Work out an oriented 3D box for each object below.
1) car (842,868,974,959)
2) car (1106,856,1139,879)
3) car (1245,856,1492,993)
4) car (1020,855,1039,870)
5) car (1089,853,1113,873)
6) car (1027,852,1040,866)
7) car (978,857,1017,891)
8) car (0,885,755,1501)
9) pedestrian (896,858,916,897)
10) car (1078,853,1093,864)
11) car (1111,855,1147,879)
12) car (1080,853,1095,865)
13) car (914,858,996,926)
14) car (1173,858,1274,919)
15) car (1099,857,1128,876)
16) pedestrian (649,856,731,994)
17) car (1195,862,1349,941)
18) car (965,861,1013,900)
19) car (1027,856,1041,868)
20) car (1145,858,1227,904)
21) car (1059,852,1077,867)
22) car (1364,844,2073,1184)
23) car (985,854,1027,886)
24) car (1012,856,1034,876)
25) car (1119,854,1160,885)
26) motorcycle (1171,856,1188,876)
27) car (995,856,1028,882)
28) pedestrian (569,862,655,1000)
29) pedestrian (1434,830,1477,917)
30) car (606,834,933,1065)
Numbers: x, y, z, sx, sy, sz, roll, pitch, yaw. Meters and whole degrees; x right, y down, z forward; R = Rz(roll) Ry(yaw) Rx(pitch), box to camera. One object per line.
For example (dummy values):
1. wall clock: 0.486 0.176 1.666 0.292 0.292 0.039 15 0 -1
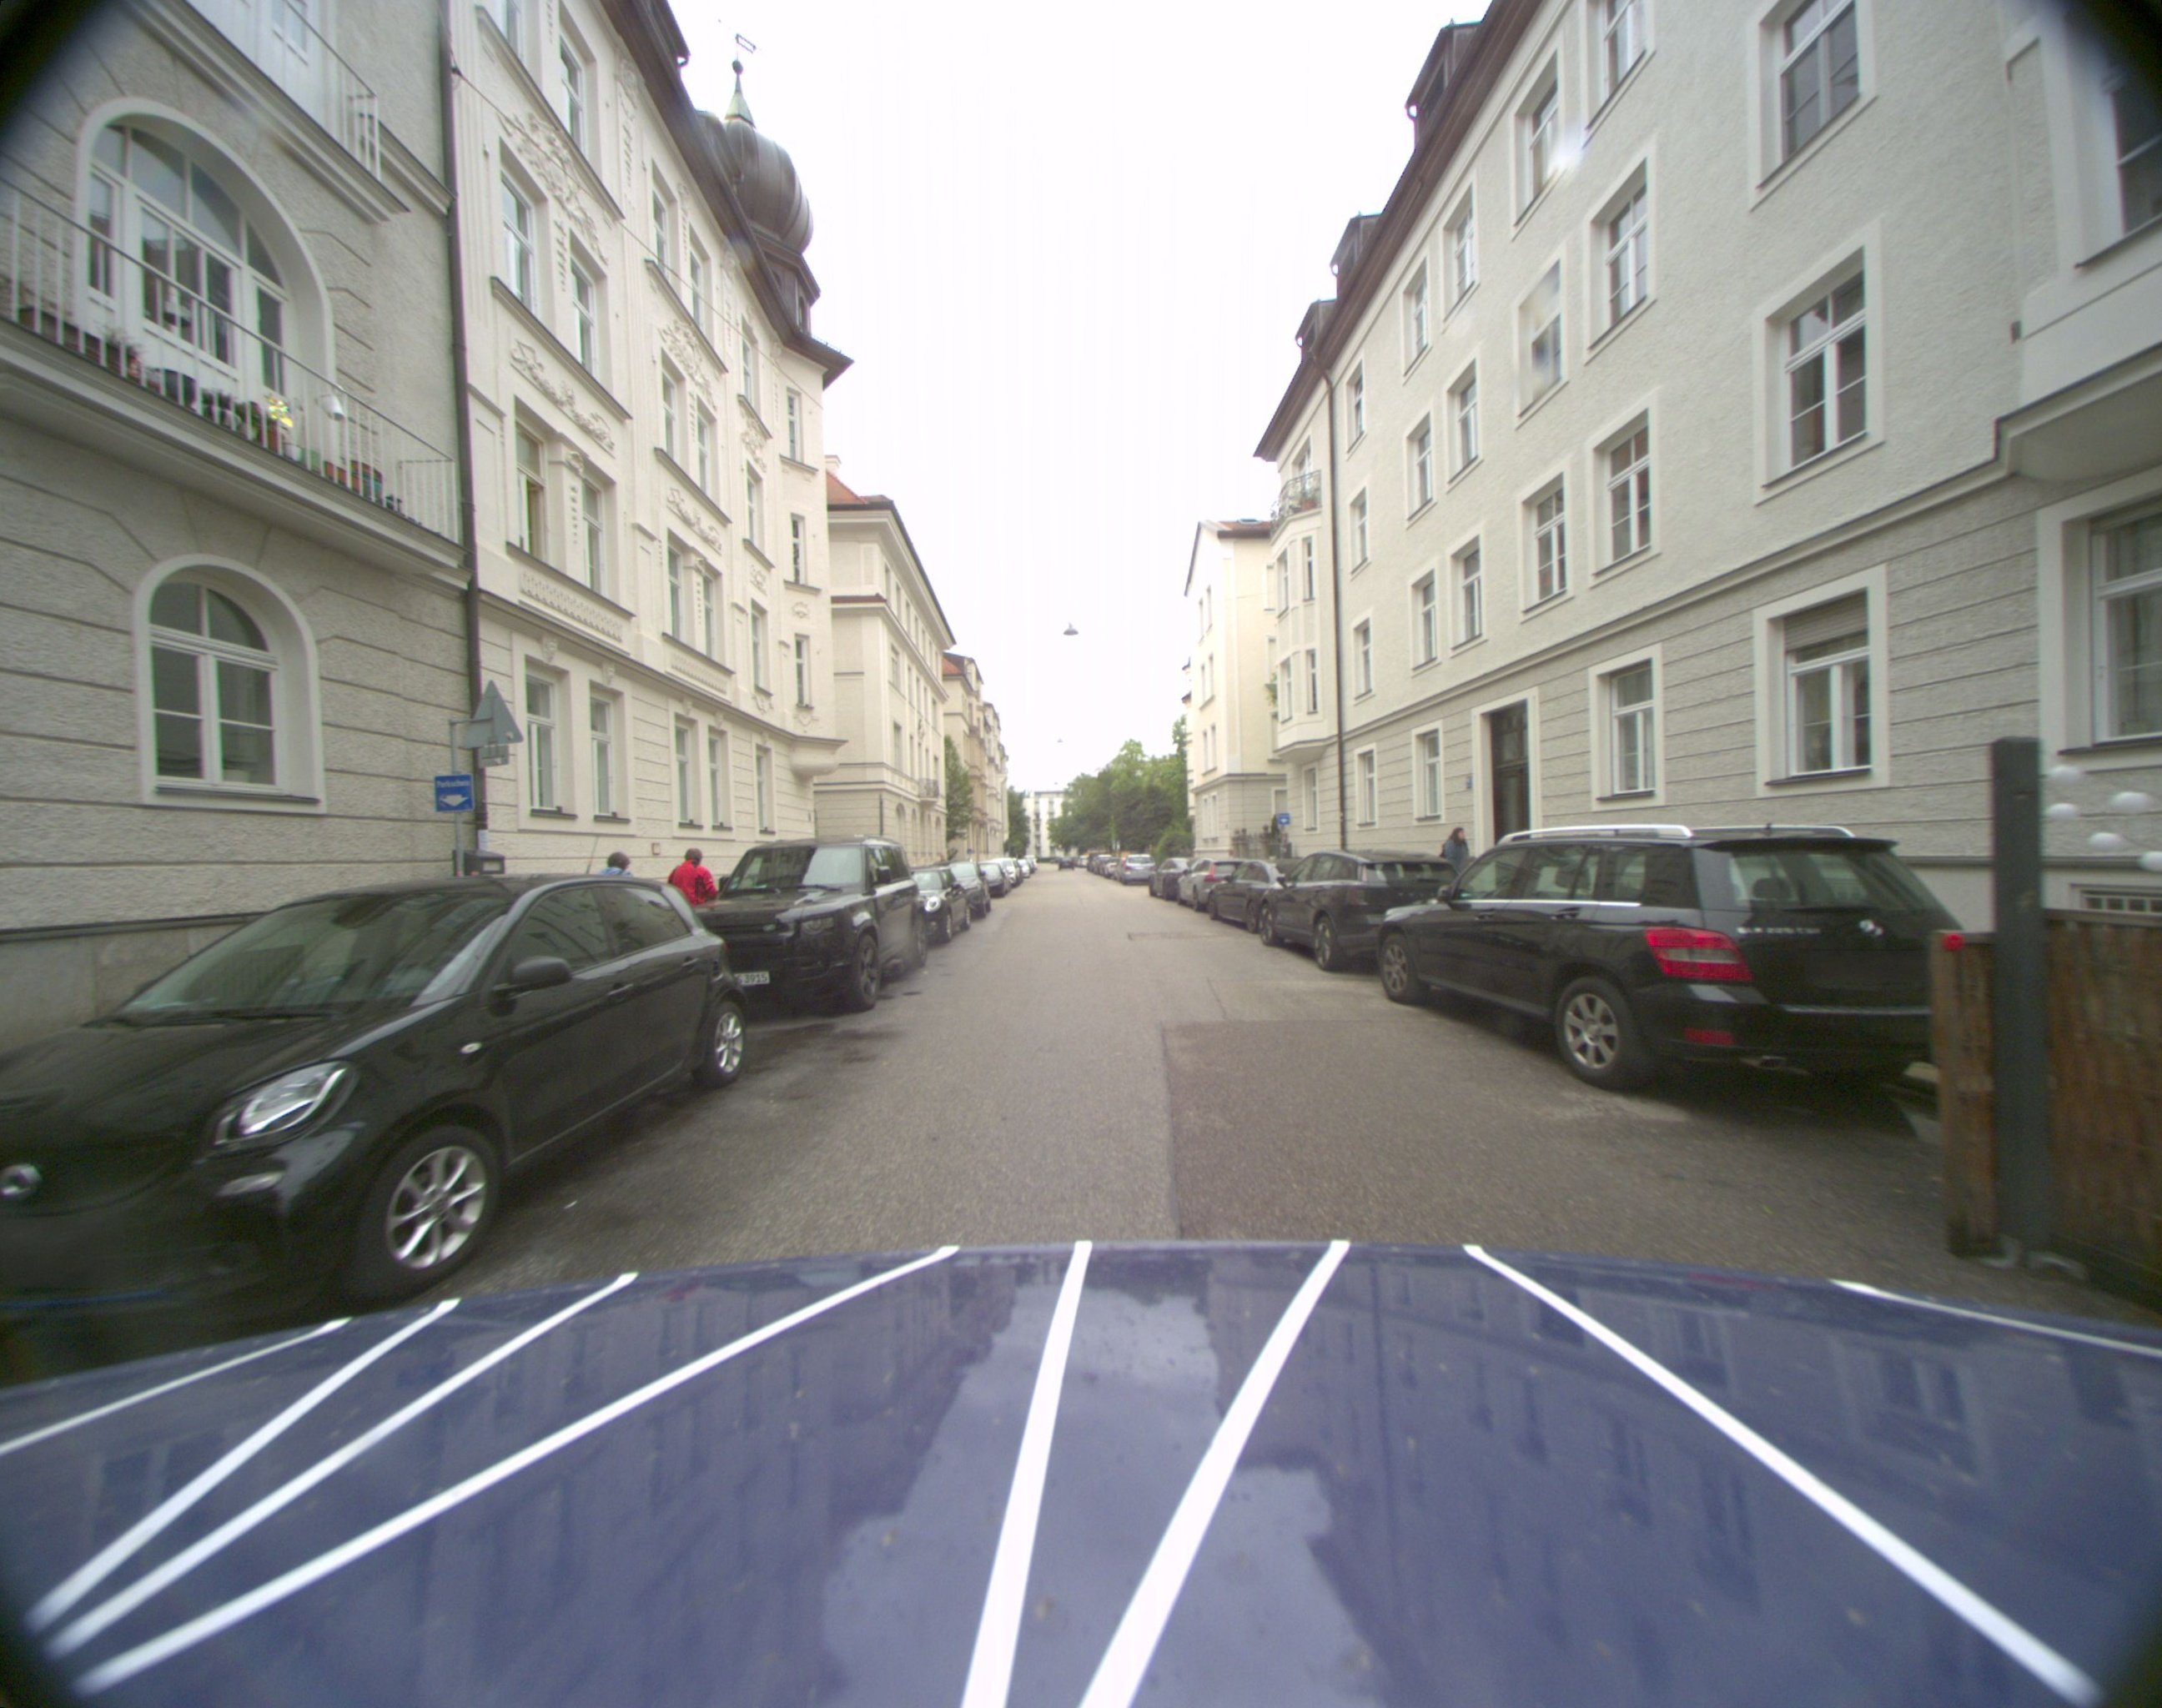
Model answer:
1. car: -3.229 1.057 14.864 1.668 1.387 3.581 -4 0 0
2. car: 2.742 0.878 51.406 1.802 1.426 4.078 -2 1 -2
3. car: 3.746 0.809 10.780 1.746 1.478 4.180 -2 0 -2
4. car: -5.238 0.860 77.805 1.646 1.409 3.999 -3 0 -1
5. car: 1.797 0.822 69.248 1.811 1.638 4.484 -3 0 -3
6. car: -7.242 0.790 116.621 1.794 1.926 4.083 -3 0 -5
7. car: -4.057 0.935 37.515 1.713 1.492 3.998 -3 0 -5
8. car: -3.274 1.022 3.876 1.659 1.516 3.636 -3 0 -1
9. pedestrian: -7.494 0.992 32.587 0.684 1.669 0.812 0 0 -3
10. car: 0.607 0.649 105.809 1.705 1.552 3.929 -1 0 -4
11. car: 2.897 0.787 46.503 1.649 1.395 3.998 0 0 -4
12. car: 0.845 0.675 100.603 1.705 1.483 3.954 -1 0 -4
13. car: -3.330 0.949 20.795 1.712 1.578 3.999 -3 0 -3
14. car: 3.813 0.868 21.101 1.799 1.411 4.509 1 0 -2
15. car: 2.518 0.940 58.923 1.740 1.357 4.191 0 0 -5
16. pedestrian: -5.077 0.895 9.903 0.705 1.718 0.703 -1 1 -4
17. car: 3.883 0.899 16.263 1.816 1.377 4.441 0 0 -5
18. car: -3.835 1.074 32.187 1.617 1.387 3.999 -3 0 -3
19. car: -6.120 1.030 98.725 1.715 1.462 4.083 -3 0 -5
20. car: 3.551 0.876 26.514 1.855 1.359 4.700 -2 0 -4
21. car: -1.484 0.622 85.689 1.729 1.525 4.083 -4 1 -4
22. car: 3.966 0.805 5.895 1.751 1.663 4.274 1 0 -3
23. car: -4.079 0.871 42.009 1.900 1.626 4.391 -2 -1 -1
24. car: -4.771 0.963 62.734 1.667 1.499 4.063 -2 0 -4
25. car: 3.052 0.793 40.270 1.701 1.571 4.061 0 0 -2
26. motorcycle: 6.540 0.763 50.634 0.706 1.242 1.820 -3 1 -3
27. car: -4.316 0.902 47.475 1.753 1.516 4.169 -2 0 -2
28. pedestrian: -5.842 0.931 9.496 0.681 1.664 0.654 0 0 -4
29. pedestrian: 7.539 0.388 15.284 0.663 1.697 0.701 -2 1 31
30. car: -3.153 0.819 8.955 1.916 1.874 4.713 -4 0 -2
